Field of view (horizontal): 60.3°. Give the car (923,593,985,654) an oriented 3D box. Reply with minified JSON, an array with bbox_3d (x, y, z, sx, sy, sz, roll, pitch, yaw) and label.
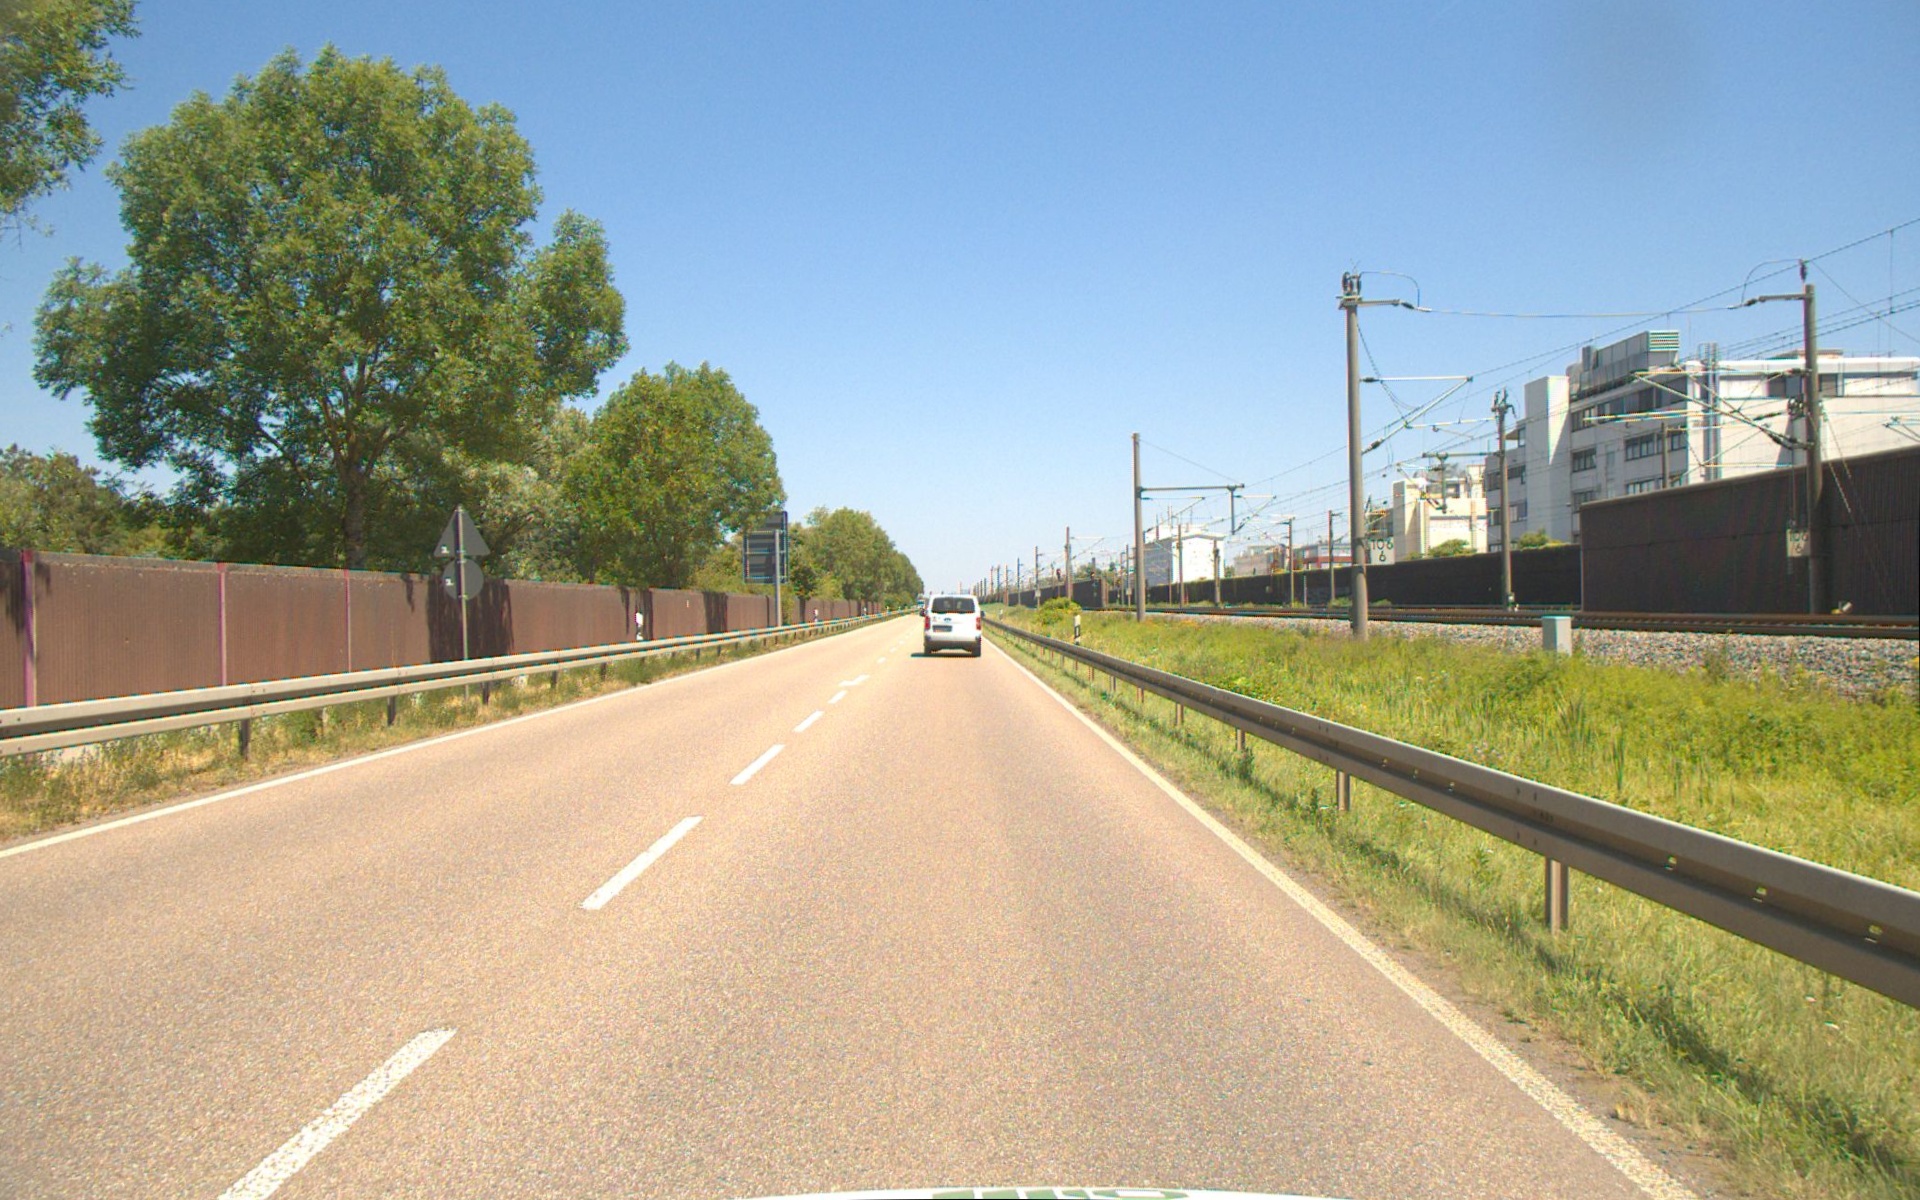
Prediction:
[{"bbox_3d":[-0.218,0.749,53.605,1.906,1.914,4.880,0,-1,-1],"label":"car"}]
